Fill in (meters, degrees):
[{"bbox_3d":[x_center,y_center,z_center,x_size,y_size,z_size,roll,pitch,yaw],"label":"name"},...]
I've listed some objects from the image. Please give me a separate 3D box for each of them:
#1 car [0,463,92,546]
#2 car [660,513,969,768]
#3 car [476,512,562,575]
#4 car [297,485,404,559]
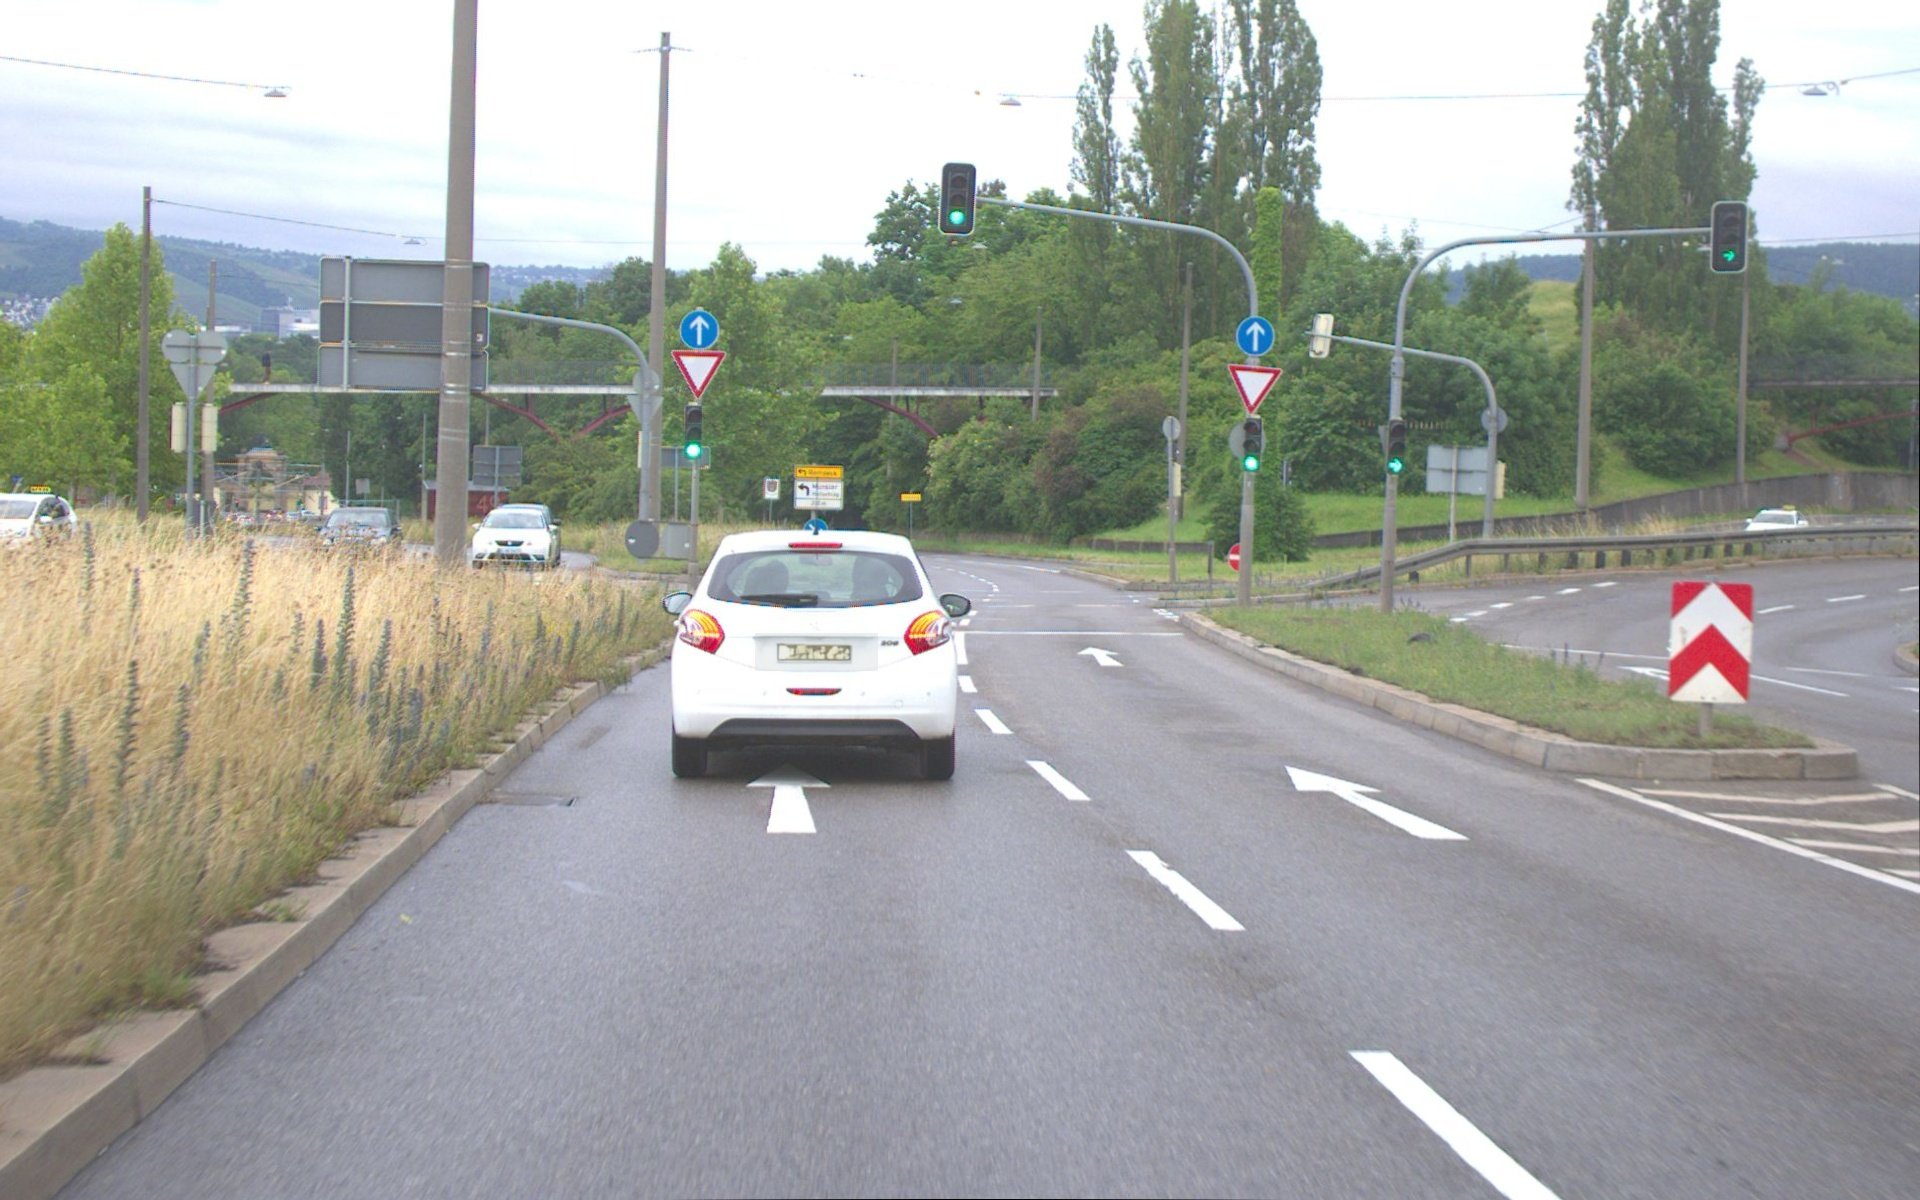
[{"bbox_3d":[-19.556,-1.970,71.030,1.885,1.605,4.676,2,1,2],"label":"car"},{"bbox_3d":[-0.823,0.208,21.397,1.708,1.435,3.690,0,1,1],"label":"car"},{"bbox_3d":[-10.224,-1.310,79.896,1.737,1.368,4.001,2,1,-4],"label":"car"},{"bbox_3d":[-13.644,-1.727,77.171,1.895,1.532,4.001,2,0,-4],"label":"car"}]
